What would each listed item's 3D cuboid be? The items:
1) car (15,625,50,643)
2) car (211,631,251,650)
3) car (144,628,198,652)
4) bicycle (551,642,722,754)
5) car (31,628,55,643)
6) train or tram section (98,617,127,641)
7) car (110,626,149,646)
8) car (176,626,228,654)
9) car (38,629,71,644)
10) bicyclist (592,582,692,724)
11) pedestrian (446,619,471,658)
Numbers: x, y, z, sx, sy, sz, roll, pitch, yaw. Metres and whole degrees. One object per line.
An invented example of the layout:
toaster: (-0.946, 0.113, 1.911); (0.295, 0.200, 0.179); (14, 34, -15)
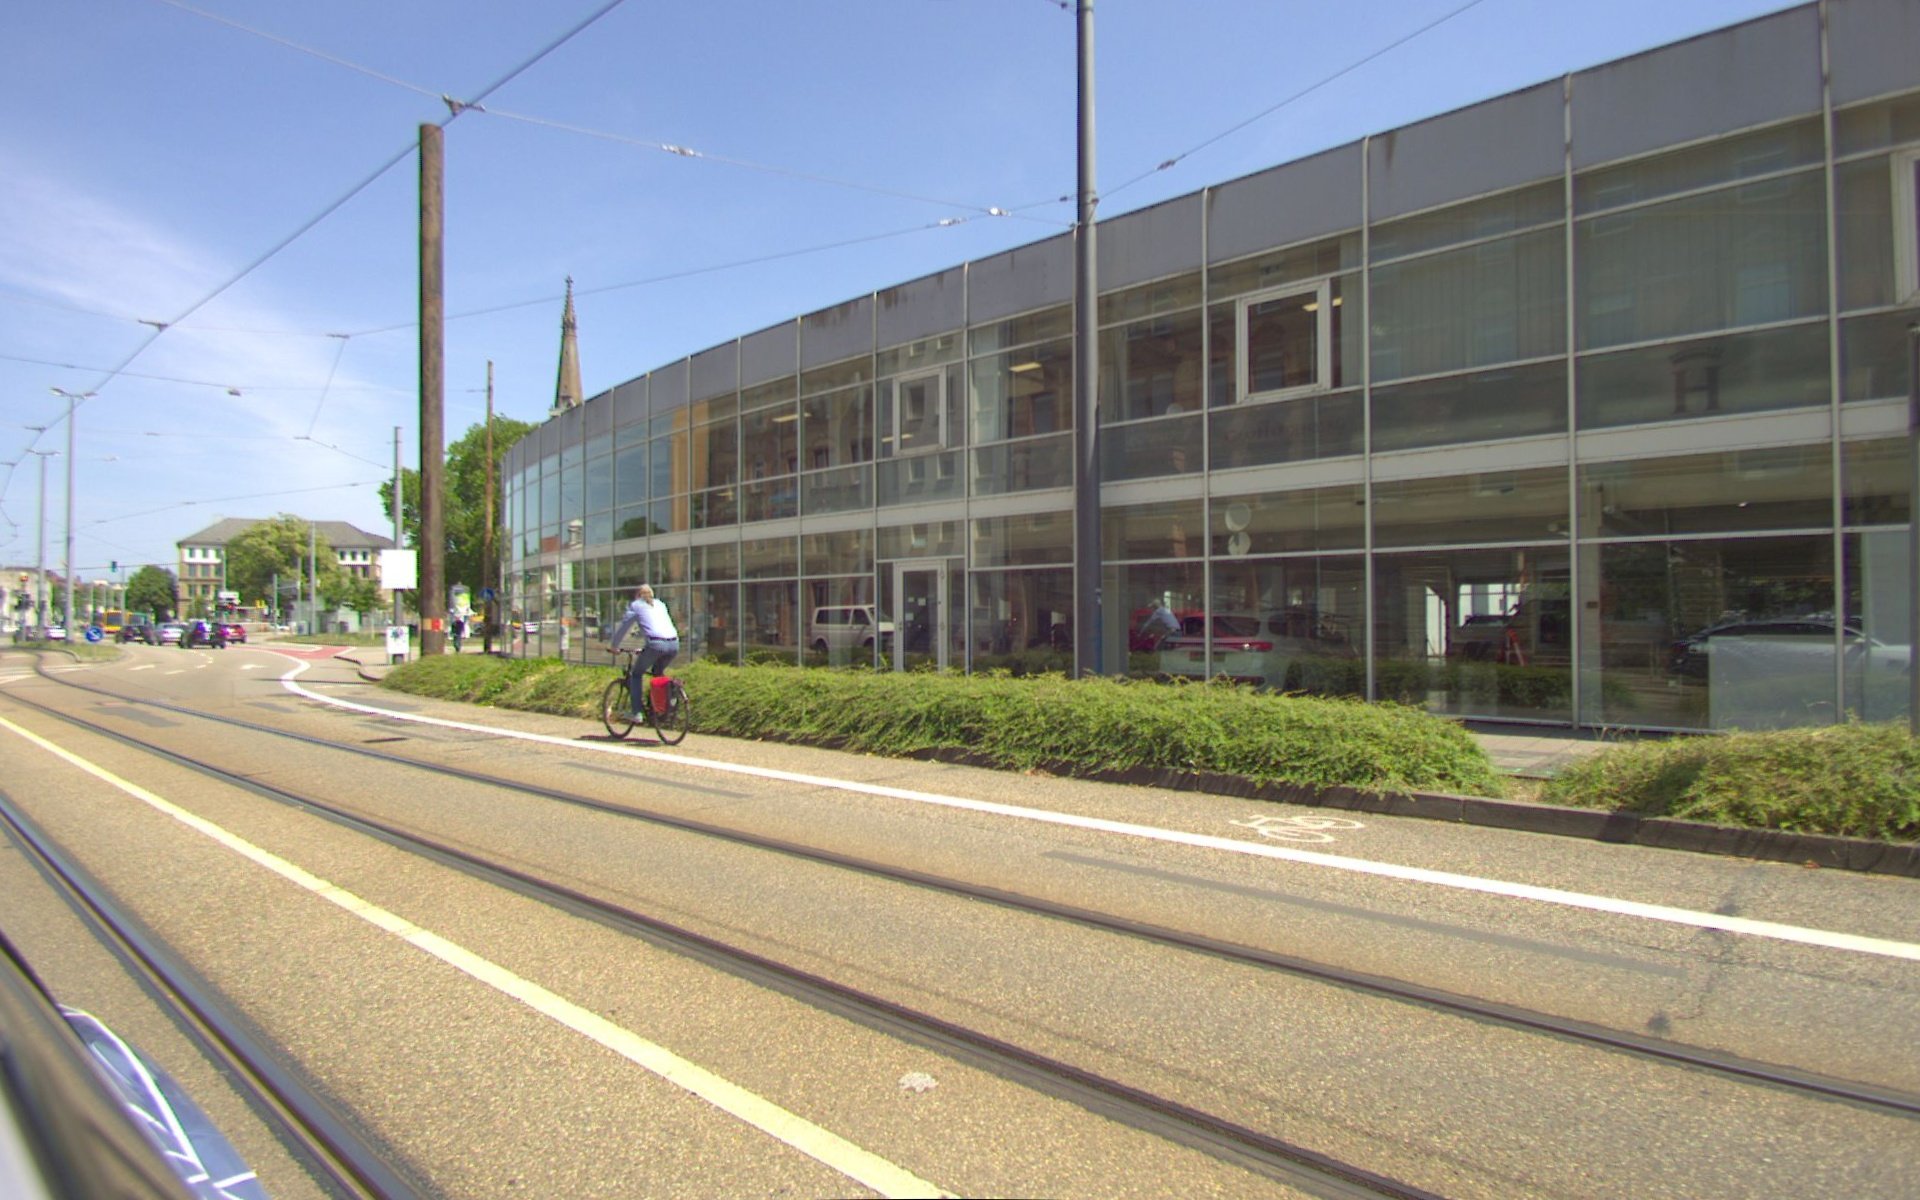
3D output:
car: (-77.036, 2.856, 84.042); (4.330, 1.491, 1.823); (-3, -3, 43)
car: (-56.709, 3.149, 78.722); (4.288, 1.377, 1.739); (-2, -2, 43)
car: (-53.890, 2.732, 69.082); (5.129, 1.542, 1.972); (-1, -3, 42)
bicycle: (-3.814, 1.083, 11.802); (2.494, 1.153, 0.691); (-2, -2, 41)
car: (-101.863, 3.925, 112.405); (3.677, 1.548, 1.532); (-2, -2, 41)
train or tram section: (-115.748, 3.971, 138.238); (2.799, 3.238, 9.126); (1, -2, -39)
car: (-62.532, 2.728, 76.212); (3.902, 1.473, 1.653); (-2, -3, 41)
car: (-45.598, 2.383, 60.867); (4.527, 1.639, 1.801); (-2, -3, 45)
car: (-81.567, 3.313, 91.145); (4.201, 1.309, 1.689); (-1, -3, 41)
bicyclist: (-3.675, 0.600, 11.700); (0.979, 1.560, 0.691); (-2, -2, 40)
pedestrian: (-21.528, 1.655, 43.414); (0.820, 1.654, 0.719); (-2, -2, 45)
